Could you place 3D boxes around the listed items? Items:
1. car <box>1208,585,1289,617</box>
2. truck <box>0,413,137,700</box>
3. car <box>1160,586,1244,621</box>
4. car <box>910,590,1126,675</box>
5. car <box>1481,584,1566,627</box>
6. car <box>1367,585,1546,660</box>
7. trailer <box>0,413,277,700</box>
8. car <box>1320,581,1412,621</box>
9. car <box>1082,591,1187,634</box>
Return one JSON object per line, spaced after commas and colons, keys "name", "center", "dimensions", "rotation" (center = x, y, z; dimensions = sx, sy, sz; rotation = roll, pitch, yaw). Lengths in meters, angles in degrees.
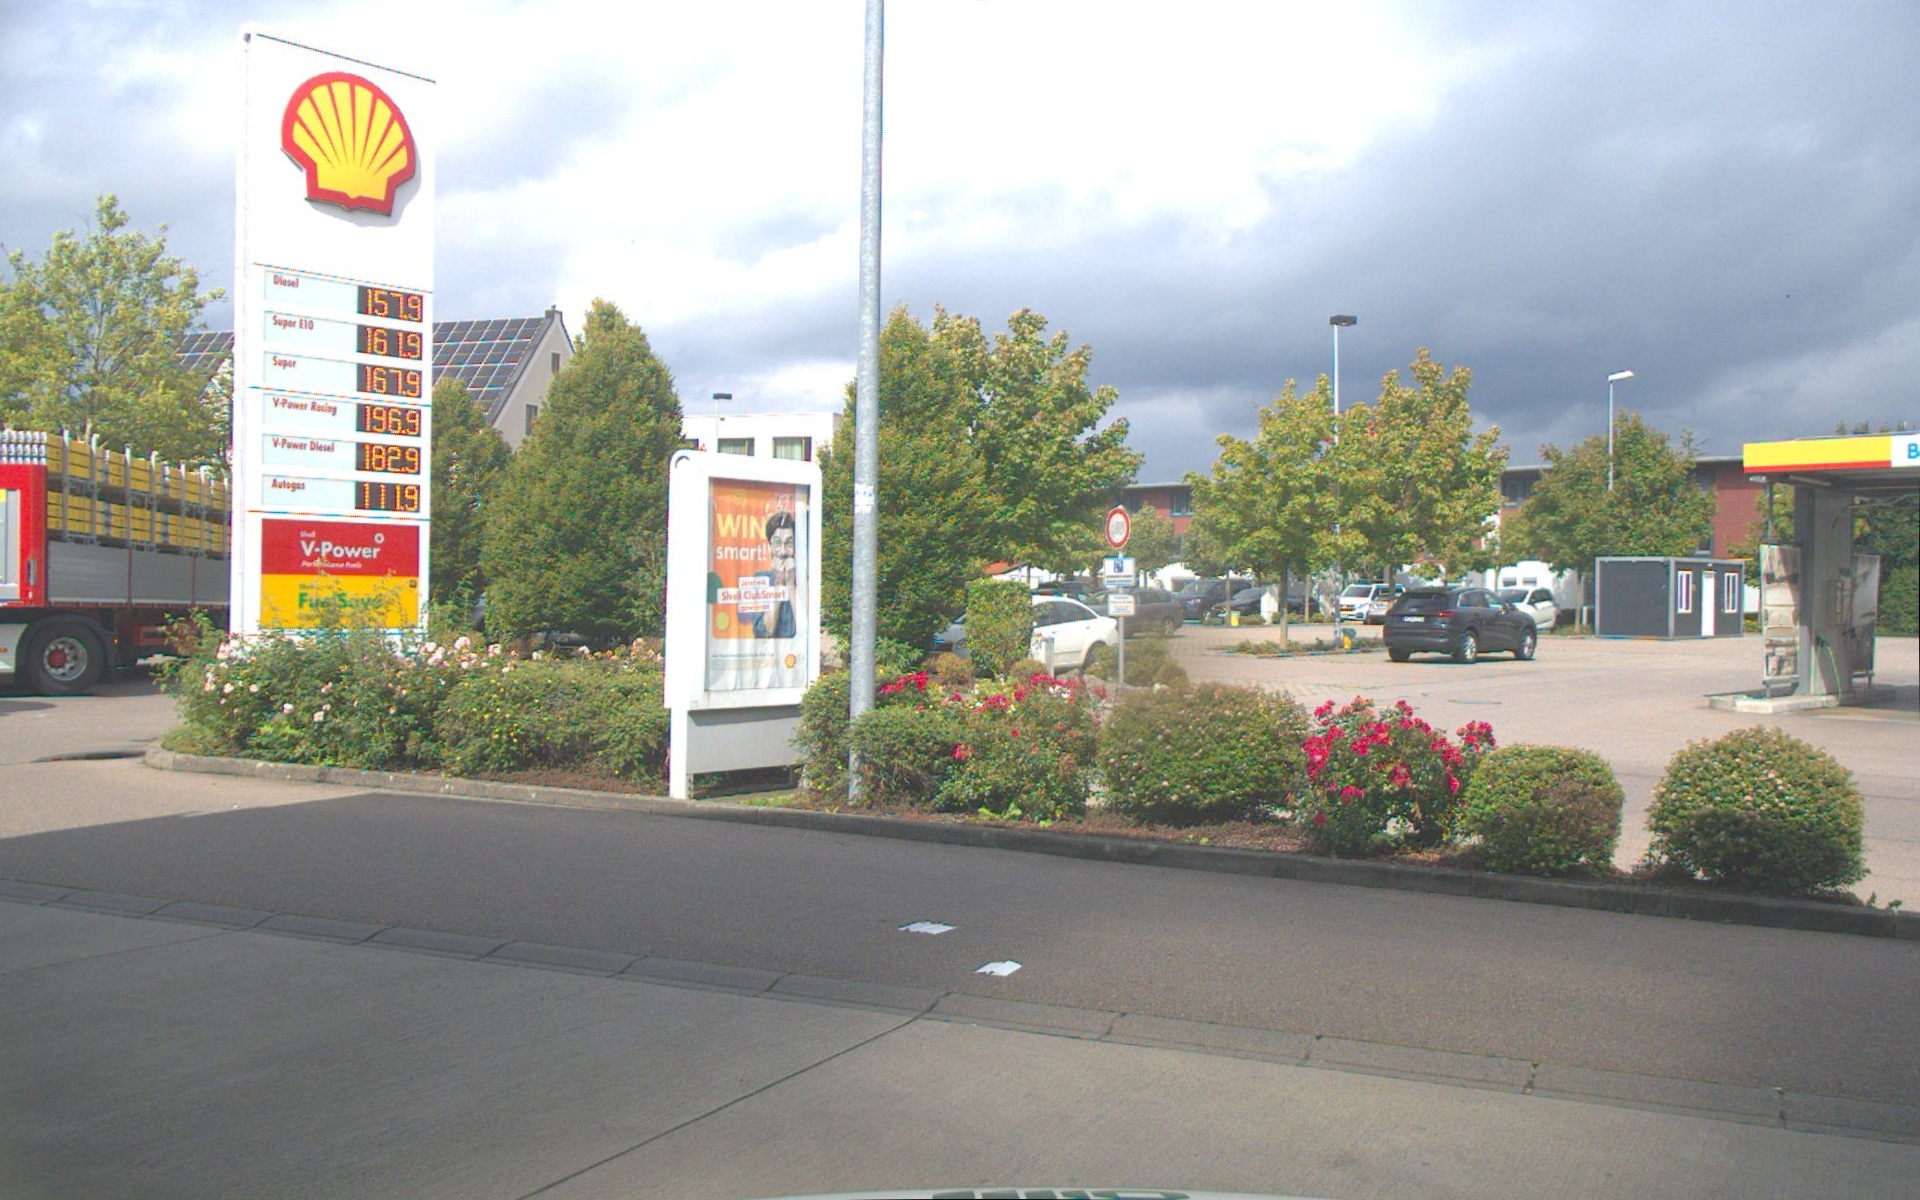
{"name": "car", "center": [11.401, 0.051, 65.191], "dimensions": [3.393, 1.199, 1.462], "rotation": [1, 0, -45]}
{"name": "truck", "center": [-14.833, -0.619, 22.546], "dimensions": [2.692, 3.913, 5.884], "rotation": [1, -1, 41]}
{"name": "car", "center": [9.800, 0.155, 66.913], "dimensions": [3.364, 1.343, 1.719], "rotation": [1, 0, -45]}
{"name": "car", "center": [1.120, 0.582, 29.918], "dimensions": [1.348, 1.428, 4.312], "rotation": [1, -1, 45]}
{"name": "car", "center": [17.995, 0.179, 52.787], "dimensions": [3.080, 1.330, 1.346], "rotation": [1, -1, -45]}
{"name": "car", "center": [11.118, 0.493, 36.874], "dimensions": [4.467, 1.575, 1.856], "rotation": [1, 0, -44]}
{"name": "trailer", "center": [-14.537, -0.588, 28.228], "dimensions": [2.681, 3.842, 12.680], "rotation": [1, 0, -11]}
{"name": "car", "center": [19.904, 0.048, 80.927], "dimensions": [4.839, 1.865, 2.150], "rotation": [1, 0, -44]}
{"name": "car", "center": [5.266, 0.375, 49.774], "dimensions": [3.203, 1.249, 1.481], "rotation": [1, 0, -45]}
